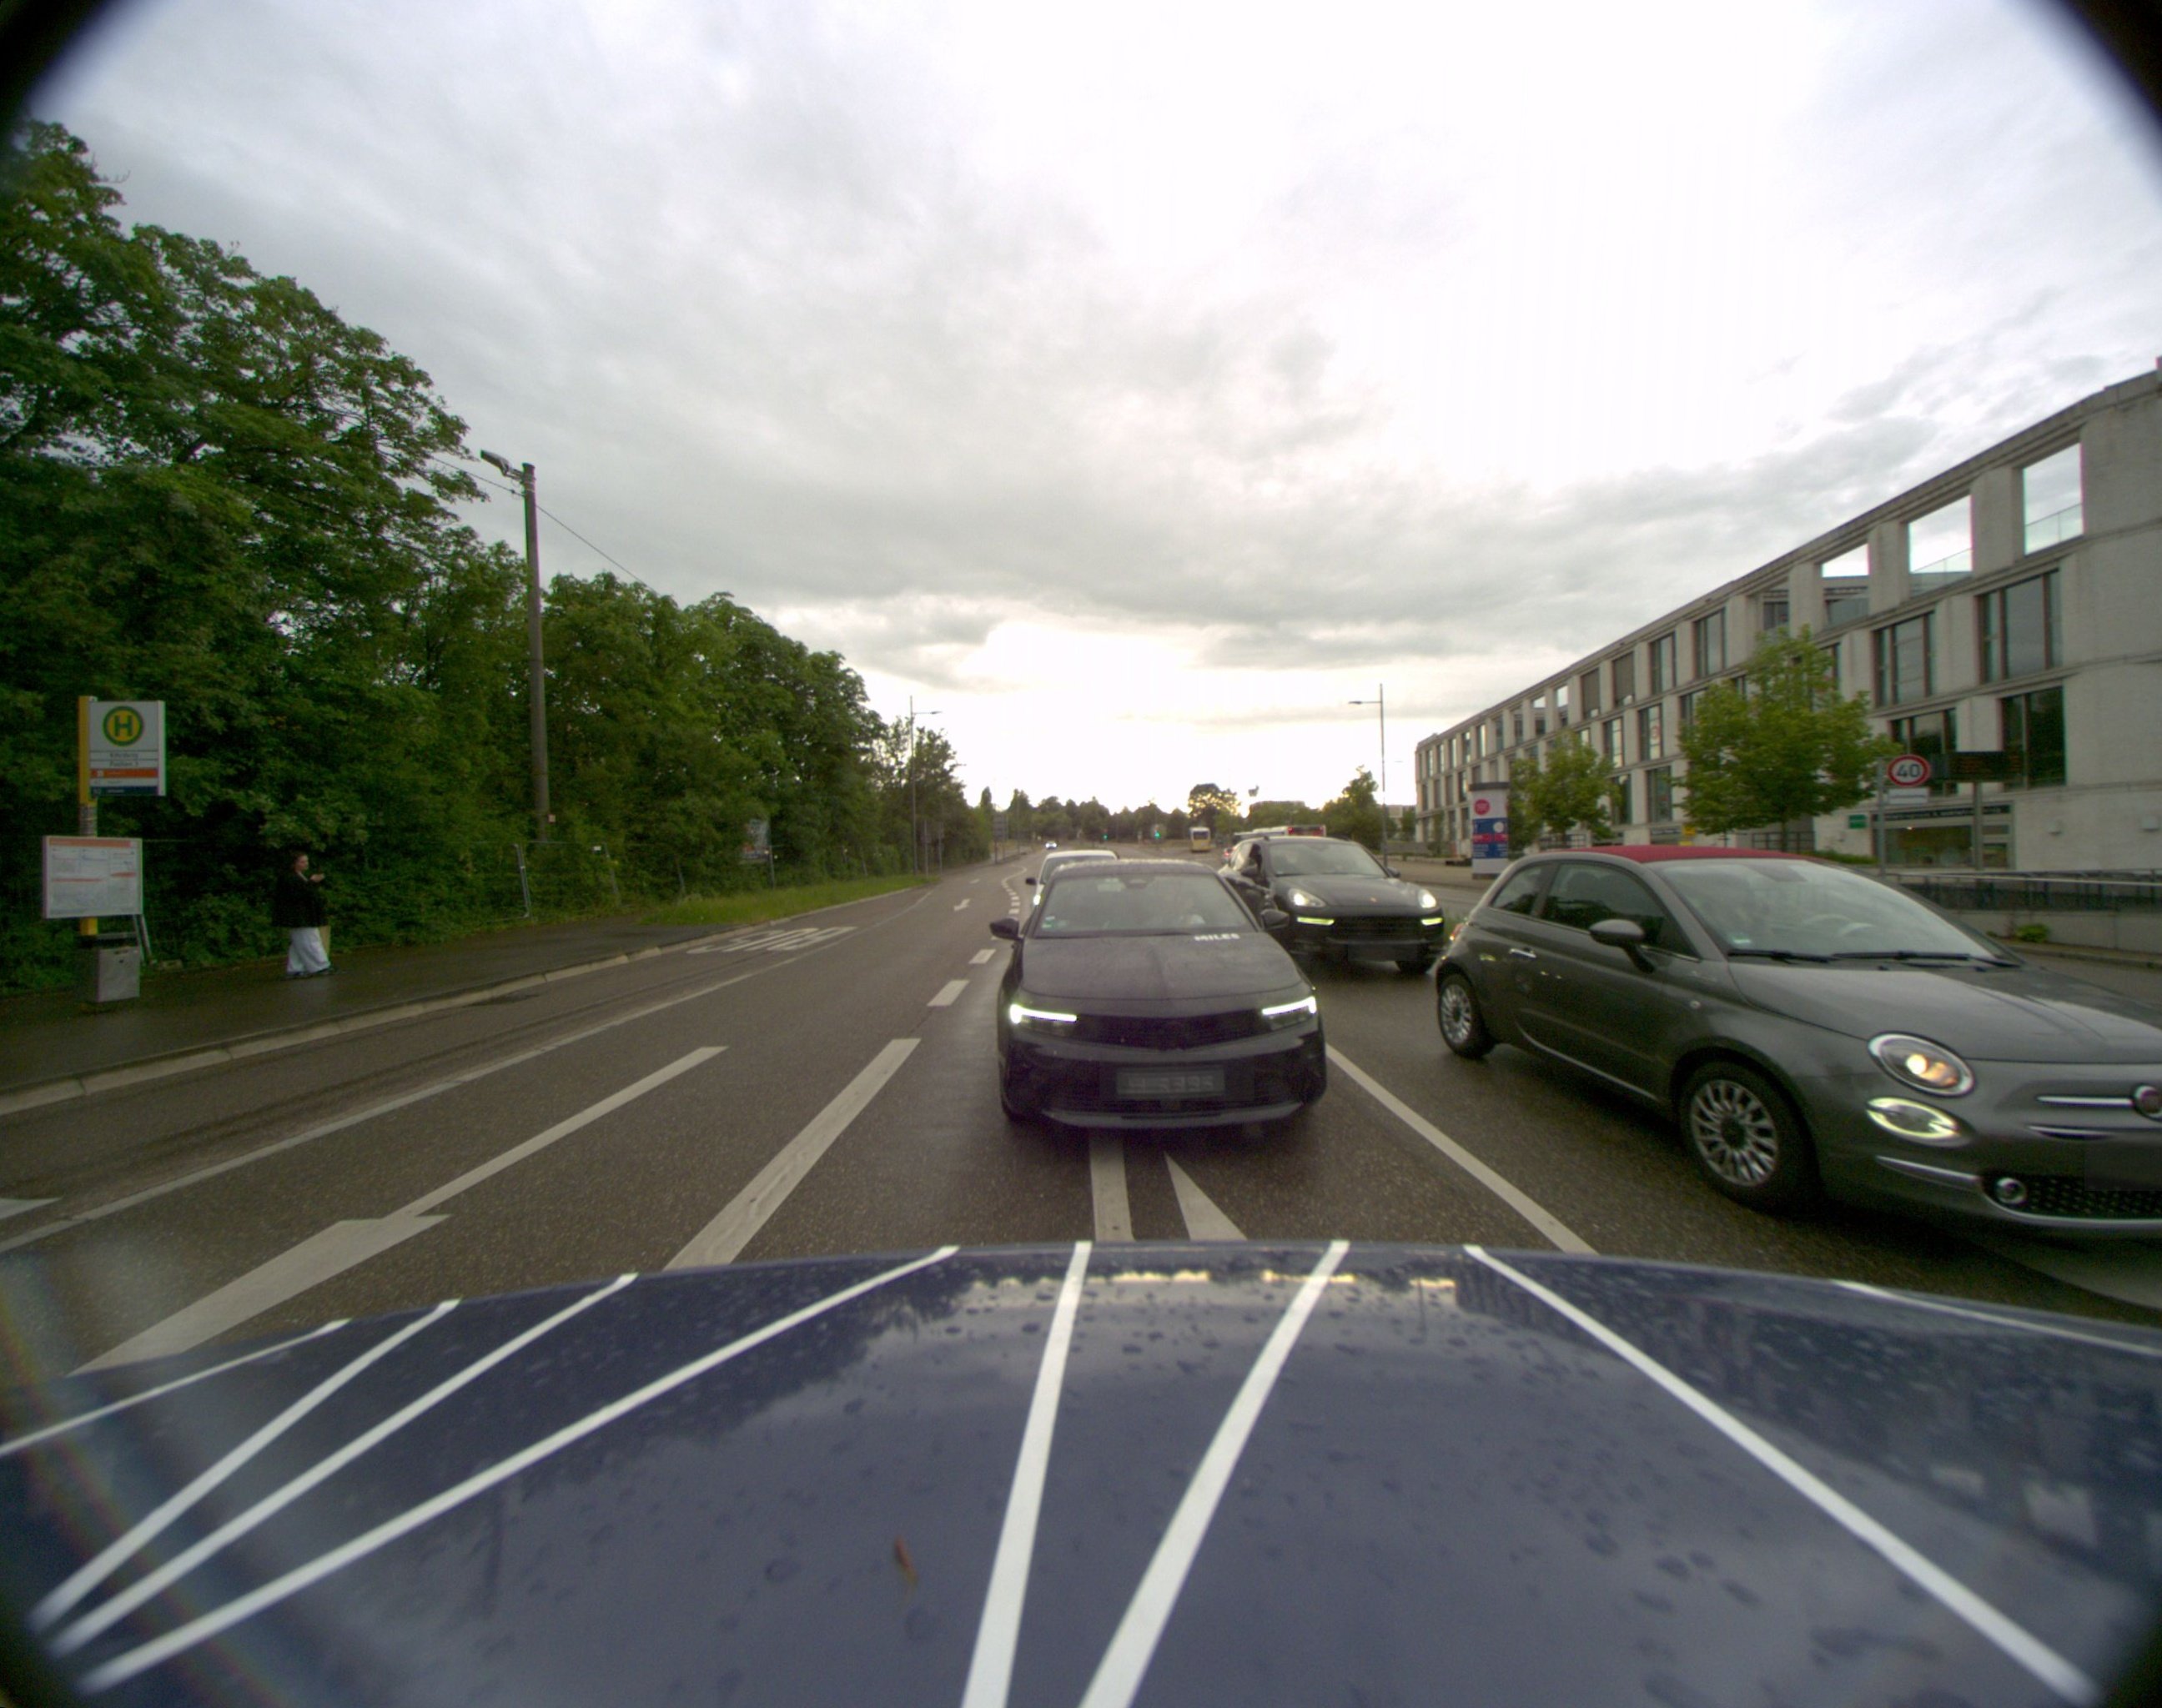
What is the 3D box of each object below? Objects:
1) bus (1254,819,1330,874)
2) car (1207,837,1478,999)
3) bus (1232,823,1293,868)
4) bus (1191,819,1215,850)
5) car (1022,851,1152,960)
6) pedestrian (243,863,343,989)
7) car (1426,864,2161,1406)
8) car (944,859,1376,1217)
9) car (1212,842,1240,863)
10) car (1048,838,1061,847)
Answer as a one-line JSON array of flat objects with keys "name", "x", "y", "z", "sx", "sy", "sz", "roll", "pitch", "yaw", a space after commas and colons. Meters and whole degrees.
[{"name": "bus", "x": 13.865, "y": -0.538, "z": 50.717, "sx": 2.759, "sy": 3.194, "sz": 9.207, "roll": -2, "pitch": 1, "yaw": 2}, {"name": "car", "x": 3.104, "y": 0.636, "z": 10.190, "sx": 1.934, "sy": 1.649, "sz": 4.616, "roll": -1, "pitch": 1, "yaw": -2}, {"name": "bus", "x": 14.163, "y": -0.722, "z": 60.221, "sx": 2.693, "sy": 3.163, "sz": 9.912, "roll": -2, "pitch": 1, "yaw": 2}, {"name": "bus", "x": 18.453, "y": -2.943, "z": 114.004, "sx": 2.757, "sy": 4.130, "sz": 19.358, "roll": -2, "pitch": 1, "yaw": 11}, {"name": "car", "x": 0.129, "y": 0.775, "z": 13.846, "sx": 1.901, "sy": 1.524, "sz": 4.767, "roll": -2, "pitch": 1, "yaw": 1}, {"name": "pedestrian", "x": -10.568, "y": 0.939, "z": 10.208, "sx": 0.588, "sy": 1.619, "sz": 0.661, "roll": -1, "pitch": 1, "yaw": 1}, {"name": "car", "x": 3.436, "y": 0.841, "z": 3.969, "sx": 1.631, "sy": 1.473, "sz": 3.505, "roll": -1, "pitch": 1, "yaw": -1}, {"name": "car", "x": 0.391, "y": 0.850, "z": 5.814, "sx": 1.901, "sy": 1.456, "sz": 4.767, "roll": -2, "pitch": 1, "yaw": 1}, {"name": "car", "x": 13.635, "y": -0.166, "z": 71.611, "sx": 1.867, "sy": 1.777, "sz": 3.999, "roll": -2, "pitch": 1, "yaw": 1}, {"name": "car", "x": -5.470, "y": -2.338, "z": 154.516, "sx": 2.000, "sy": 1.805, "sz": 3.996, "roll": -2, "pitch": 1, "yaw": -10}]
